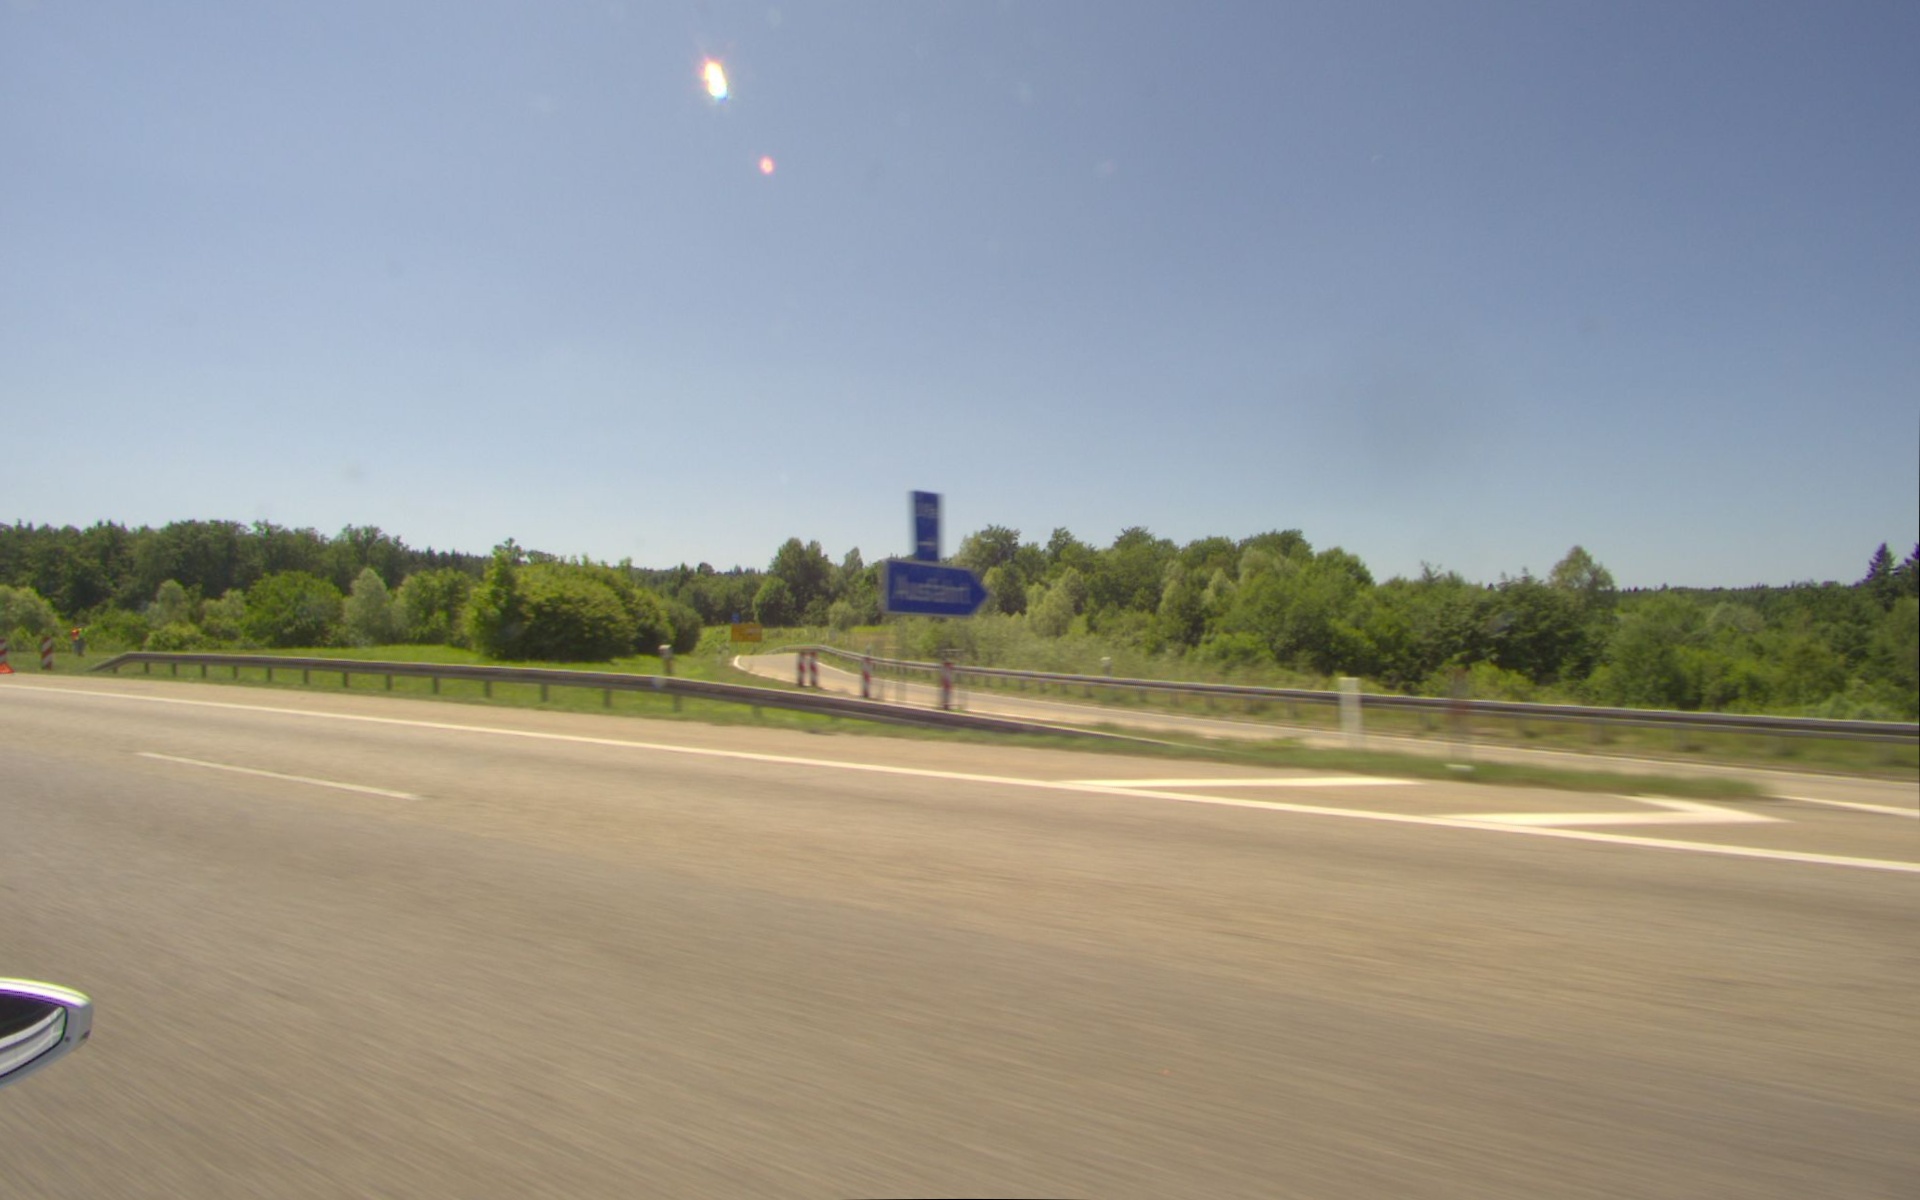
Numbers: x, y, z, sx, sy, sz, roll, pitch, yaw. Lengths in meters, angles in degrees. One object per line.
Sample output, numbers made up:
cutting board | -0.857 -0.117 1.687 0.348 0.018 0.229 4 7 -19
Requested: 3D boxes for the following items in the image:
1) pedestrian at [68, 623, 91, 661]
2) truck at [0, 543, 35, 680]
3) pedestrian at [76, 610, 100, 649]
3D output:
pedestrian | -50.441 2.403 57.359 0.915 2.105 0.687 -1 -4 33
truck | -29.362 0.298 28.129 8.404 3.621 2.923 0 -2 33
pedestrian | -48.376 1.634 55.533 0.915 2.105 0.687 -1 -4 33
